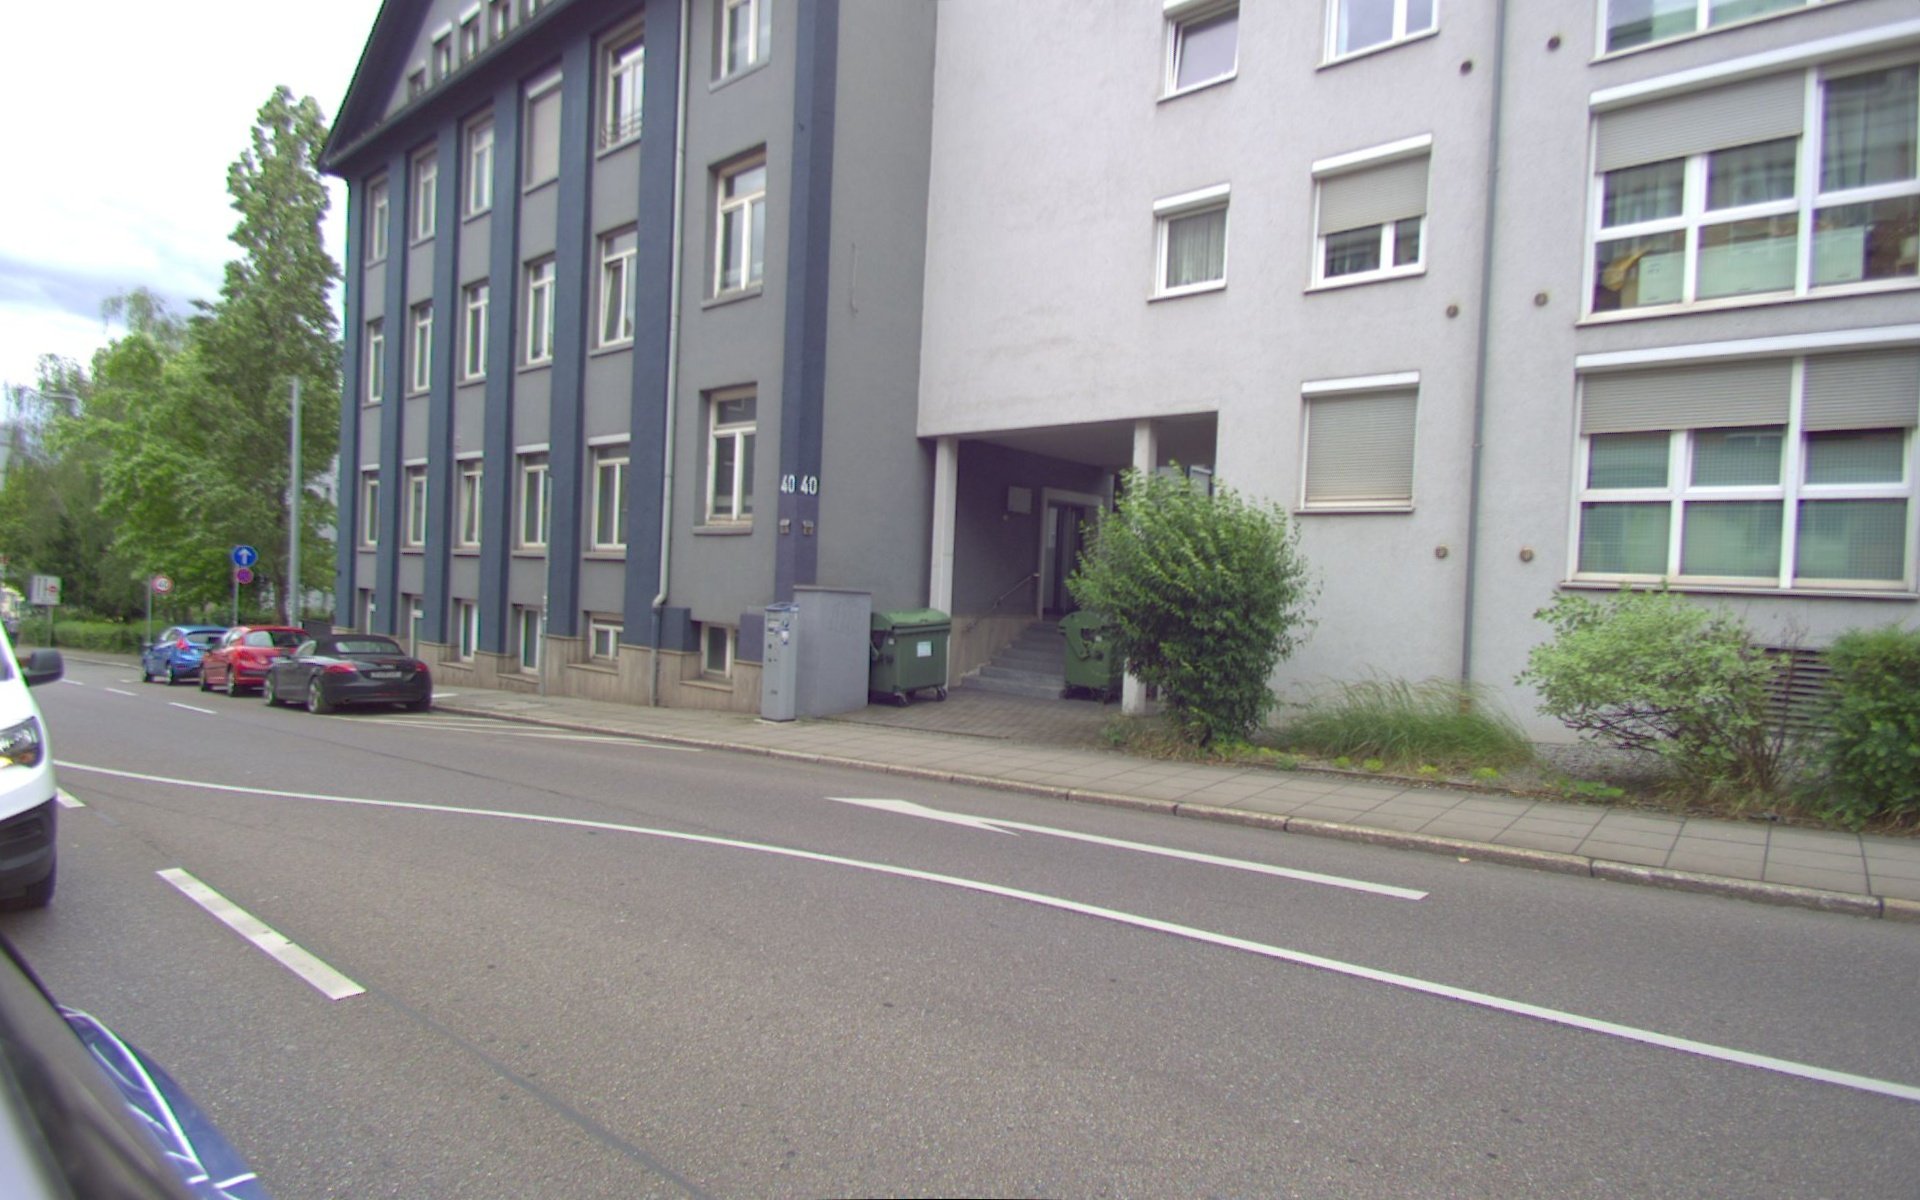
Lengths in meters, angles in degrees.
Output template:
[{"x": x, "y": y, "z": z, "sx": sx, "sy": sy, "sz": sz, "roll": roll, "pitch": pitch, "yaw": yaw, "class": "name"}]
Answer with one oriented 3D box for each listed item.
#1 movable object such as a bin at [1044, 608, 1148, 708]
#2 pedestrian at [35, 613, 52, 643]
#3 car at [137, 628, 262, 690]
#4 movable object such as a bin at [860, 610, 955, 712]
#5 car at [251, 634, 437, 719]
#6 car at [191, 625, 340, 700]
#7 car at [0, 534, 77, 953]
[{"x": 2.241, "y": 0.924, "z": 16.630, "sx": 1.190, "sy": 1.489, "sz": 1.132, "roll": 5, "pitch": 2, "yaw": 41, "class": "movable object such as a bin"}, {"x": -57.075, "y": 1.745, "z": 63.033, "sx": 0.776, "sy": 1.864, "sz": 0.736, "roll": -2, "pitch": -1, "yaw": 42, "class": "pedestrian"}, {"x": -19.347, "y": 1.454, "z": 25.697, "sx": 3.724, "sy": 1.465, "sz": 1.702, "roll": -1, "pitch": -3, "yaw": 40, "class": "car"}, {"x": -0.808, "y": 0.910, "z": 15.682, "sx": 0.784, "sy": 1.467, "sz": 1.251, "roll": 0, "pitch": 1, "yaw": 44, "class": "movable object such as a bin"}, {"x": -11.112, "y": 1.321, "z": 18.147, "sx": 4.040, "sy": 1.337, "sz": 1.701, "roll": -1, "pitch": -4, "yaw": 42, "class": "car"}, {"x": -15.218, "y": 1.339, "z": 22.104, "sx": 3.868, "sy": 1.485, "sz": 1.795, "roll": -2, "pitch": -4, "yaw": 43, "class": "car"}, {"x": -6.452, "y": 0.671, "z": 5.542, "sx": 4.937, "sy": 1.821, "sz": 1.816, "roll": -1, "pitch": 0, "yaw": 42, "class": "car"}]
